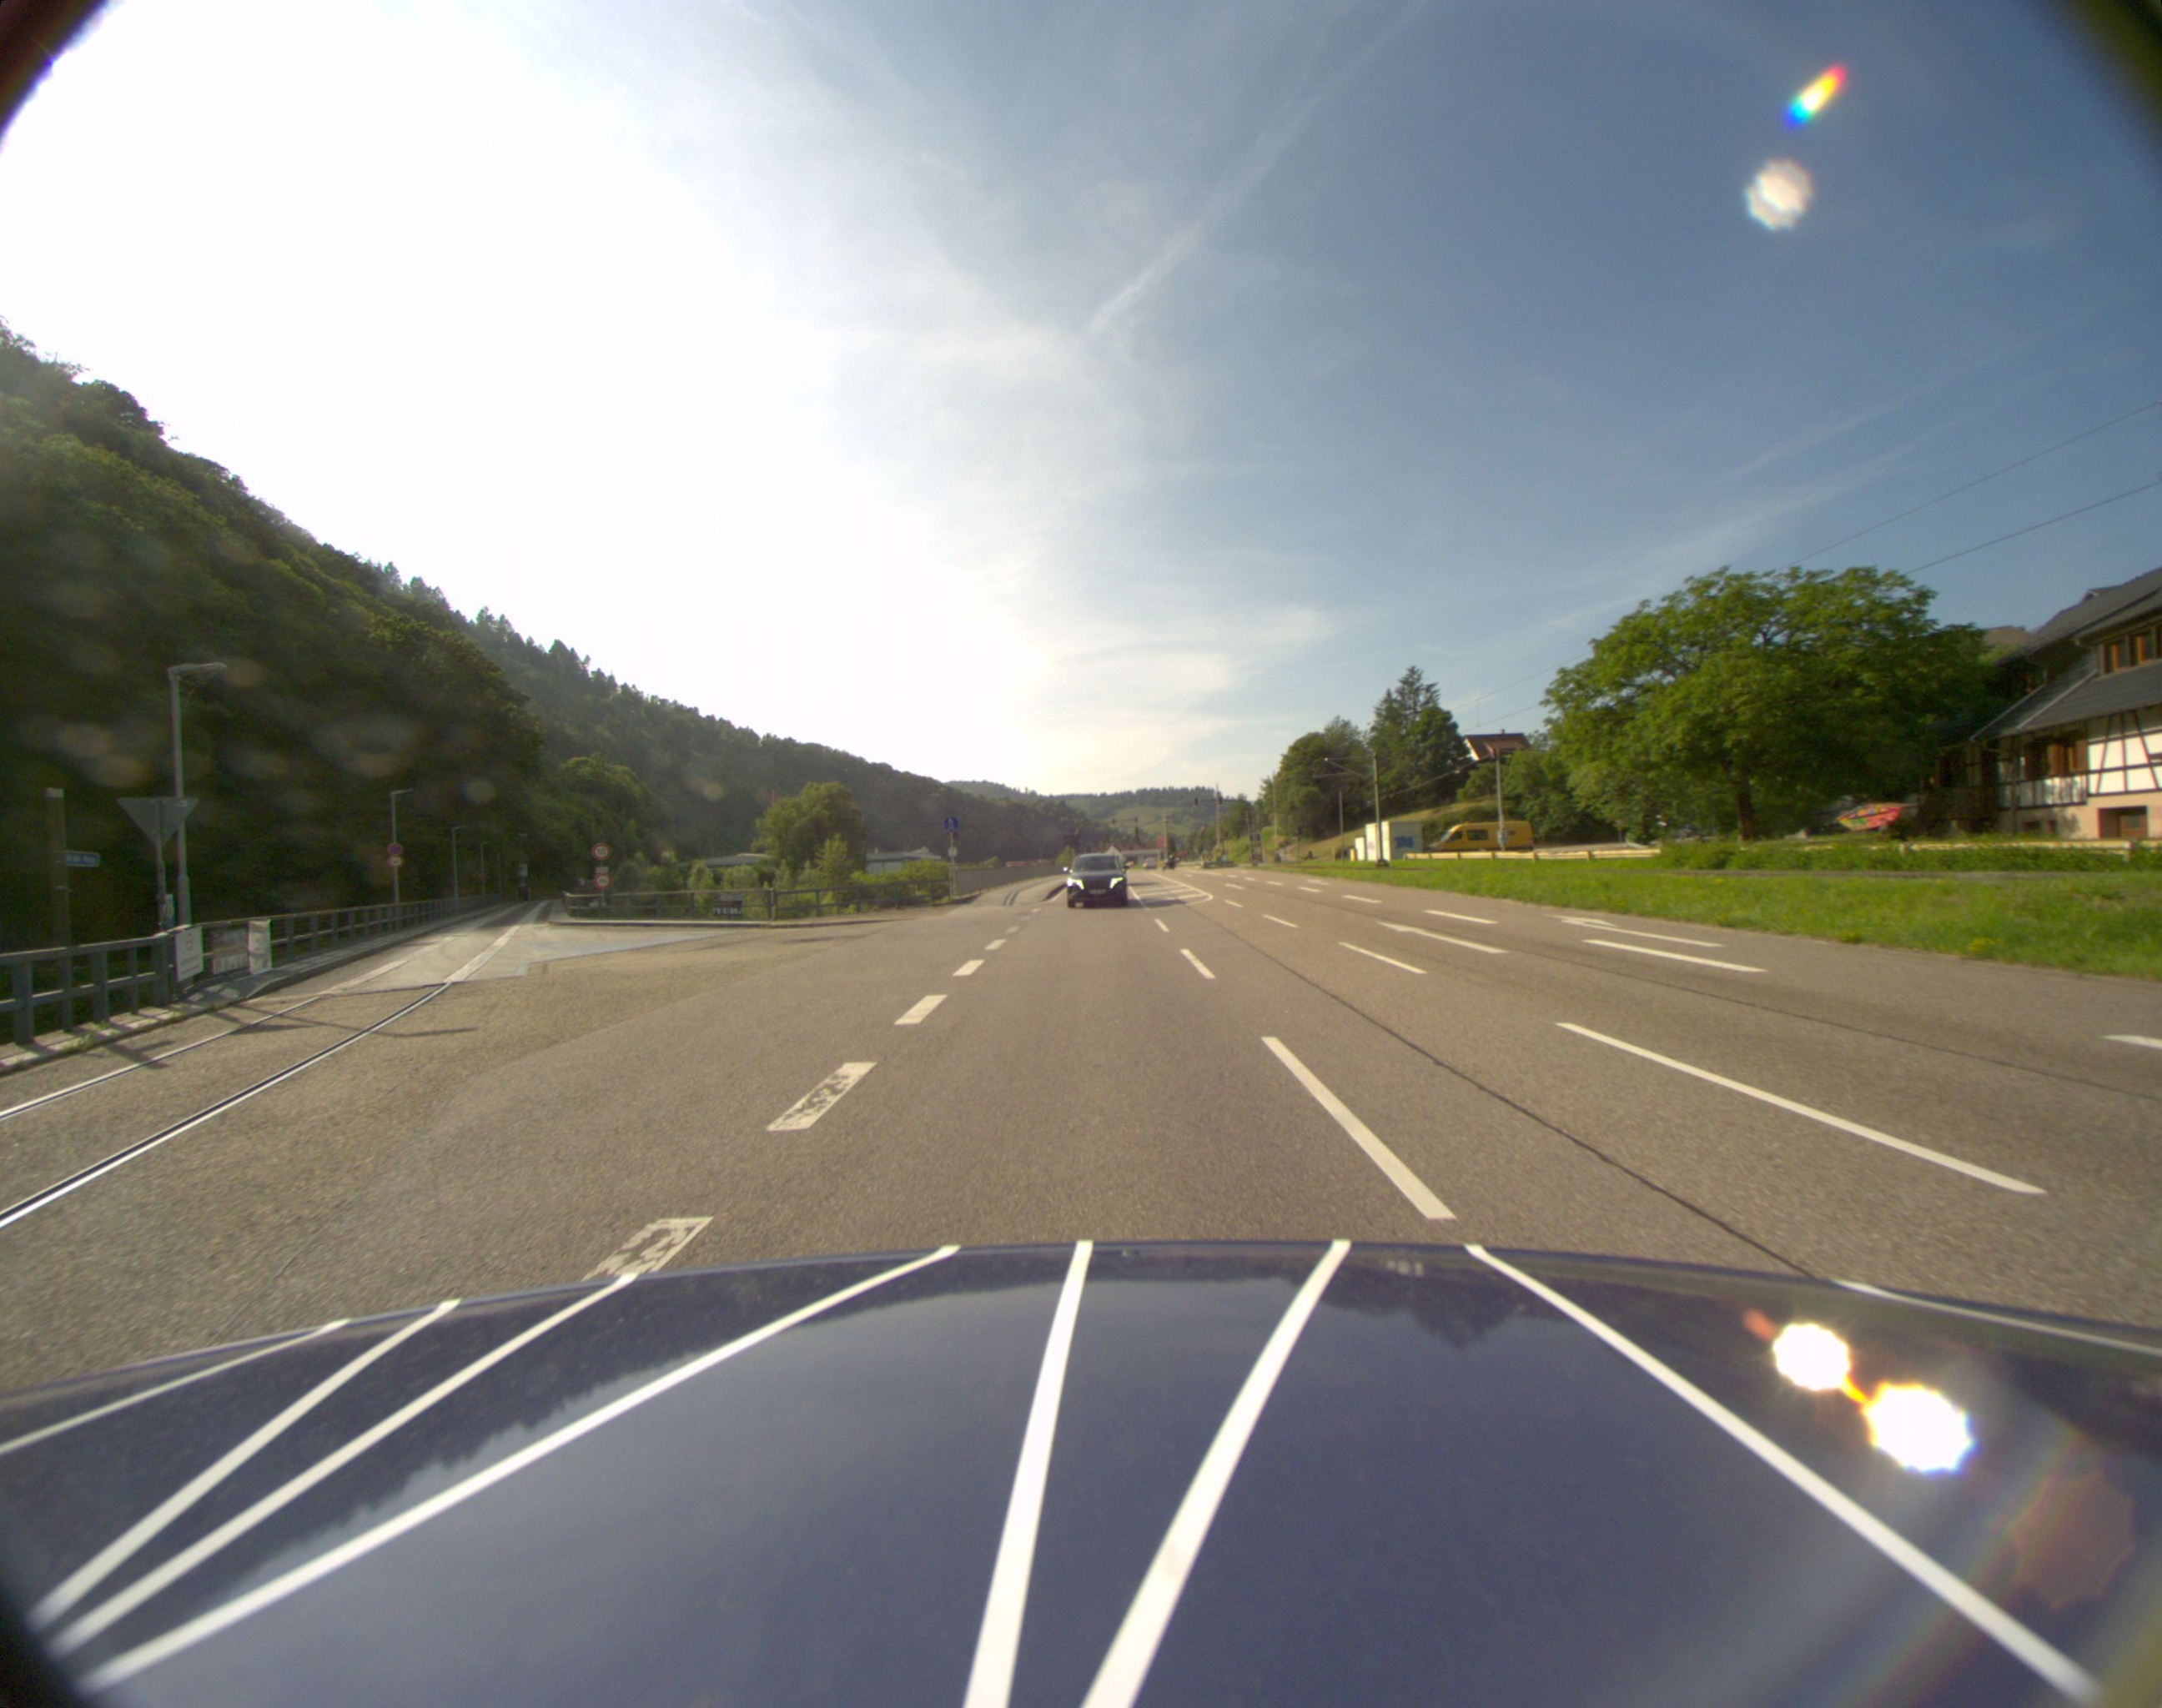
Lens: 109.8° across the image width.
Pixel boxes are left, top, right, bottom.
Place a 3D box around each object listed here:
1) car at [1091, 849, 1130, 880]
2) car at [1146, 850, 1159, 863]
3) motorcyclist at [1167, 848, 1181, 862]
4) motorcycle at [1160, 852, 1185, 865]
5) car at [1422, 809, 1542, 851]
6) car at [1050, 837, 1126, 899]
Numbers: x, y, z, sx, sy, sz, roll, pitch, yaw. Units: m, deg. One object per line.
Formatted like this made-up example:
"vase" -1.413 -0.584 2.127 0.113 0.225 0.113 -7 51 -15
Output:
"car" 1.535 0.537 40.605 1.919 1.455 4.000 -4 0 1
"car" 14.171 0.557 150.838 2.124 2.421 5.230 -4 -1 4
"motorcyclist" 10.773 0.097 88.407 1.187 1.535 0.990 -5 0 -18
"motorcycle" 10.653 0.557 88.348 2.595 1.261 1.004 -4 0 -18
"car" 29.028 -1.666 55.330 7.075 2.442 2.951 -4 -1 13
"car" 0.349 0.447 23.856 1.998 1.660 5.513 -2 -1 4
